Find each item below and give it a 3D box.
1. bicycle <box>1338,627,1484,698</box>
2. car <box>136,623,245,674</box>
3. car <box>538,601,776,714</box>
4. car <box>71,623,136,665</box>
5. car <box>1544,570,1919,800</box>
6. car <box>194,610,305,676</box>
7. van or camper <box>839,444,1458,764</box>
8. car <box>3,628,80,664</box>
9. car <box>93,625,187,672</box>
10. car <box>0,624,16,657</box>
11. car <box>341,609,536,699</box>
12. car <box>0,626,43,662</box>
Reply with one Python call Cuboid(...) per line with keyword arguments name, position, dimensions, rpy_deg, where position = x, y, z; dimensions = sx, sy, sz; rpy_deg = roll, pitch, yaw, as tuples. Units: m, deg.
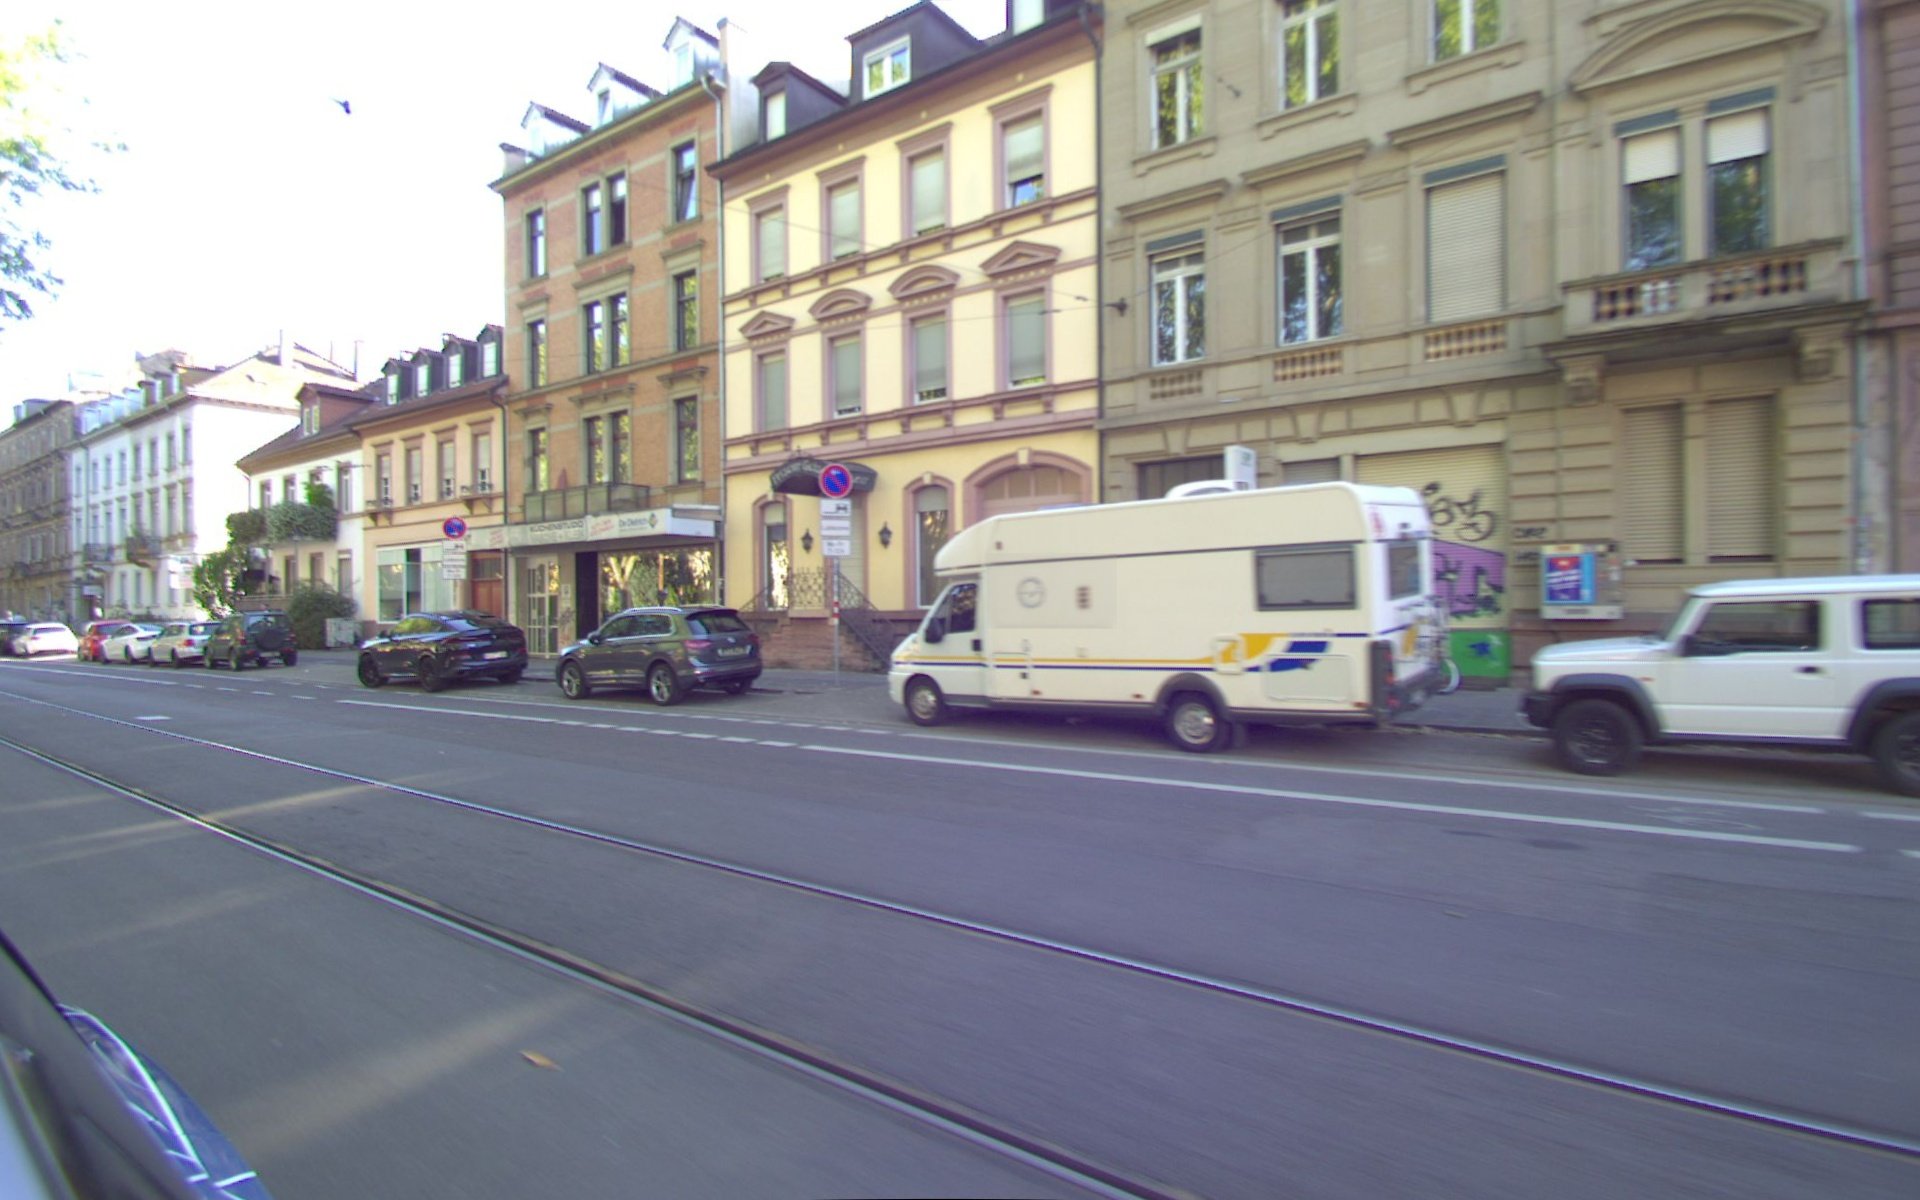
Cuboid(name="bicycle", position=(6.385, 0.862, 14.381), dimensions=(1.790, 0.931, 0.572), rpy_deg=(-1, -1, 40))
Cuboid(name="car", position=(-24.958, 1.534, 32.790), dimensions=(4.397, 1.465, 1.648), rpy_deg=(-1, 2, 37))
Cuboid(name="car", position=(-5.576, 0.975, 18.377), dimensions=(4.435, 1.718, 1.794), rpy_deg=(-1, 2, 37))
Cuboid(name="car", position=(-33.449, 1.690, 39.497), dimensions=(3.323, 1.522, 1.404), rpy_deg=(-1, 1, 41))
Cuboid(name="car", position=(7.144, 0.654, 8.879), dimensions=(3.363, 1.718, 1.617), rpy_deg=(-1, 2, 35))
Cuboid(name="car", position=(-21.316, 1.255, 30.330), dimensions=(3.621, 1.759, 1.708), rpy_deg=(-1, 2, 38))
Cuboid(name="van or camper", position=(1.946, 0.038, 12.617), dimensions=(7.243, 2.969, 2.396), rpy_deg=(-1, 2, 39))
Cuboid(name="car", position=(-41.543, 2.043, 45.762), dimensions=(4.077, 1.442, 1.846), rpy_deg=(-1, 1, 38))
Cuboid(name="car", position=(-29.264, 1.693, 36.075), dimensions=(4.463, 1.502, 1.568), rpy_deg=(-1, 1, 37))
Cuboid(name="car", position=(-50.035, 2.094, 51.847), dimensions=(4.248, 1.652, 1.777), rpy_deg=(-1, 1, 38))
Cuboid(name="car", position=(-11.834, 1.153, 22.846), dimensions=(4.742, 1.715, 1.976), rpy_deg=(-1, 2, 37))
Cuboid(name="car", position=(-45.792, 2.100, 48.655), dimensions=(4.077, 1.608, 1.777), rpy_deg=(-1, 1, 38))
